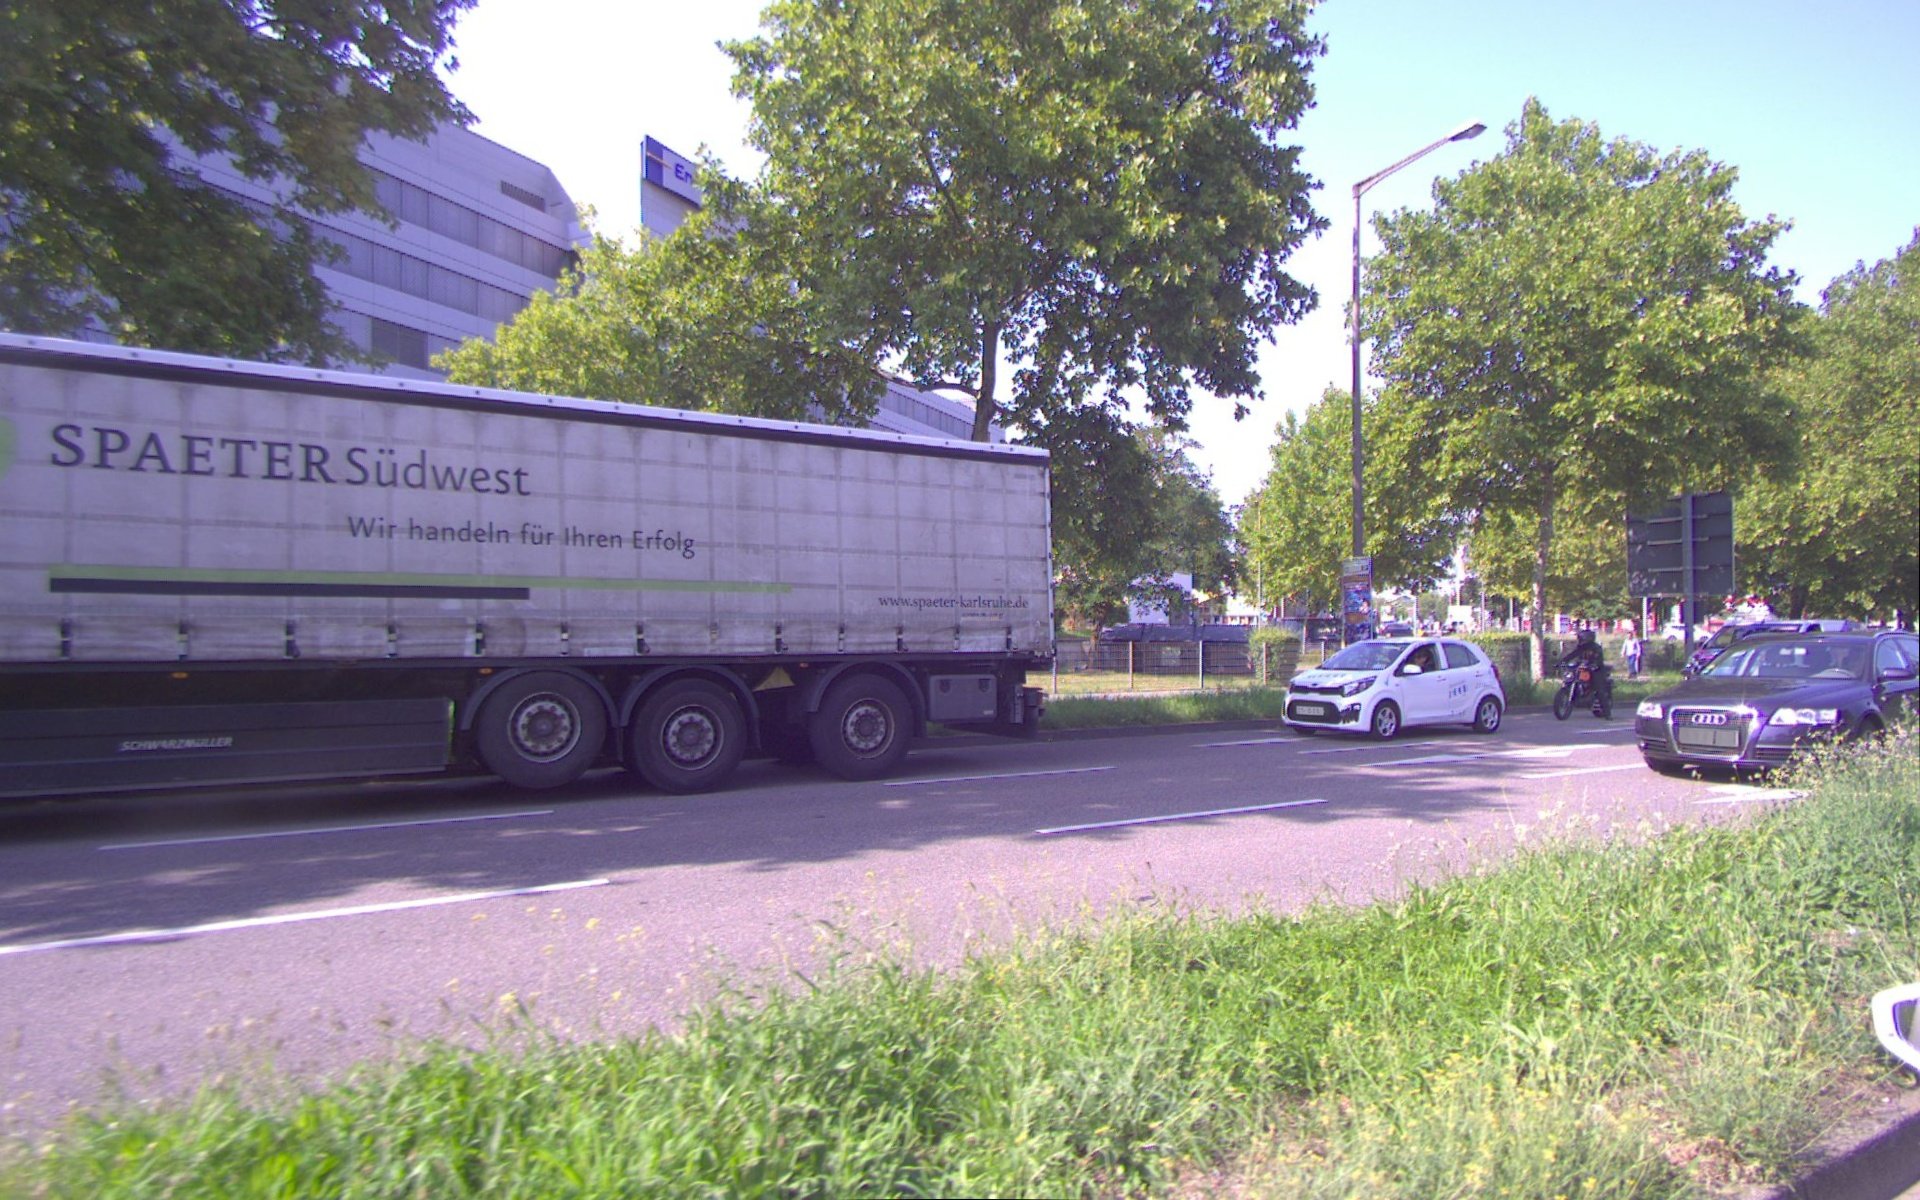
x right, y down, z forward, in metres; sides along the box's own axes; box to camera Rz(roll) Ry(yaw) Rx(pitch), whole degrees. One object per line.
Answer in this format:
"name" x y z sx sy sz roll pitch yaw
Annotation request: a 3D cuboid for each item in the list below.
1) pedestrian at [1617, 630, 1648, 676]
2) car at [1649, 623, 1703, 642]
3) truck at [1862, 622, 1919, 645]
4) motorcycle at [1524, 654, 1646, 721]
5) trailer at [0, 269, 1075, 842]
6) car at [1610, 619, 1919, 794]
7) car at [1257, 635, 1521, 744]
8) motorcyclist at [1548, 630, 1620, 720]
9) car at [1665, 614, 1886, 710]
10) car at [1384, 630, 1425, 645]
"pedestrian" 24.991 1.945 37.341 0.922 1.674 0.614 1 -1 -29
"car" 68.843 3.088 96.632 3.923 1.701 1.870 0 -1 22
"truck" 126.595 4.496 133.786 8.845 2.996 3.512 -1 -2 26
"motorcycle" 11.473 1.581 18.417 2.436 1.122 0.791 1 -1 -28
"trailer" -5.290 -0.208 8.965 13.646 3.871 2.622 1 -3 -30
"car" 8.956 1.009 10.534 4.534 1.498 1.738 1 -4 -31
"car" 6.588 1.297 15.406 3.783 1.498 1.740 1 -3 -28
"motorcyclist" 11.415 1.349 18.389 0.911 1.574 0.775 1 -1 -28
"car" 17.602 1.308 21.643 4.909 1.883 1.976 1 -4 -29
"car" 47.693 4.030 107.819 3.926 1.565 1.838 -1 -2 26
